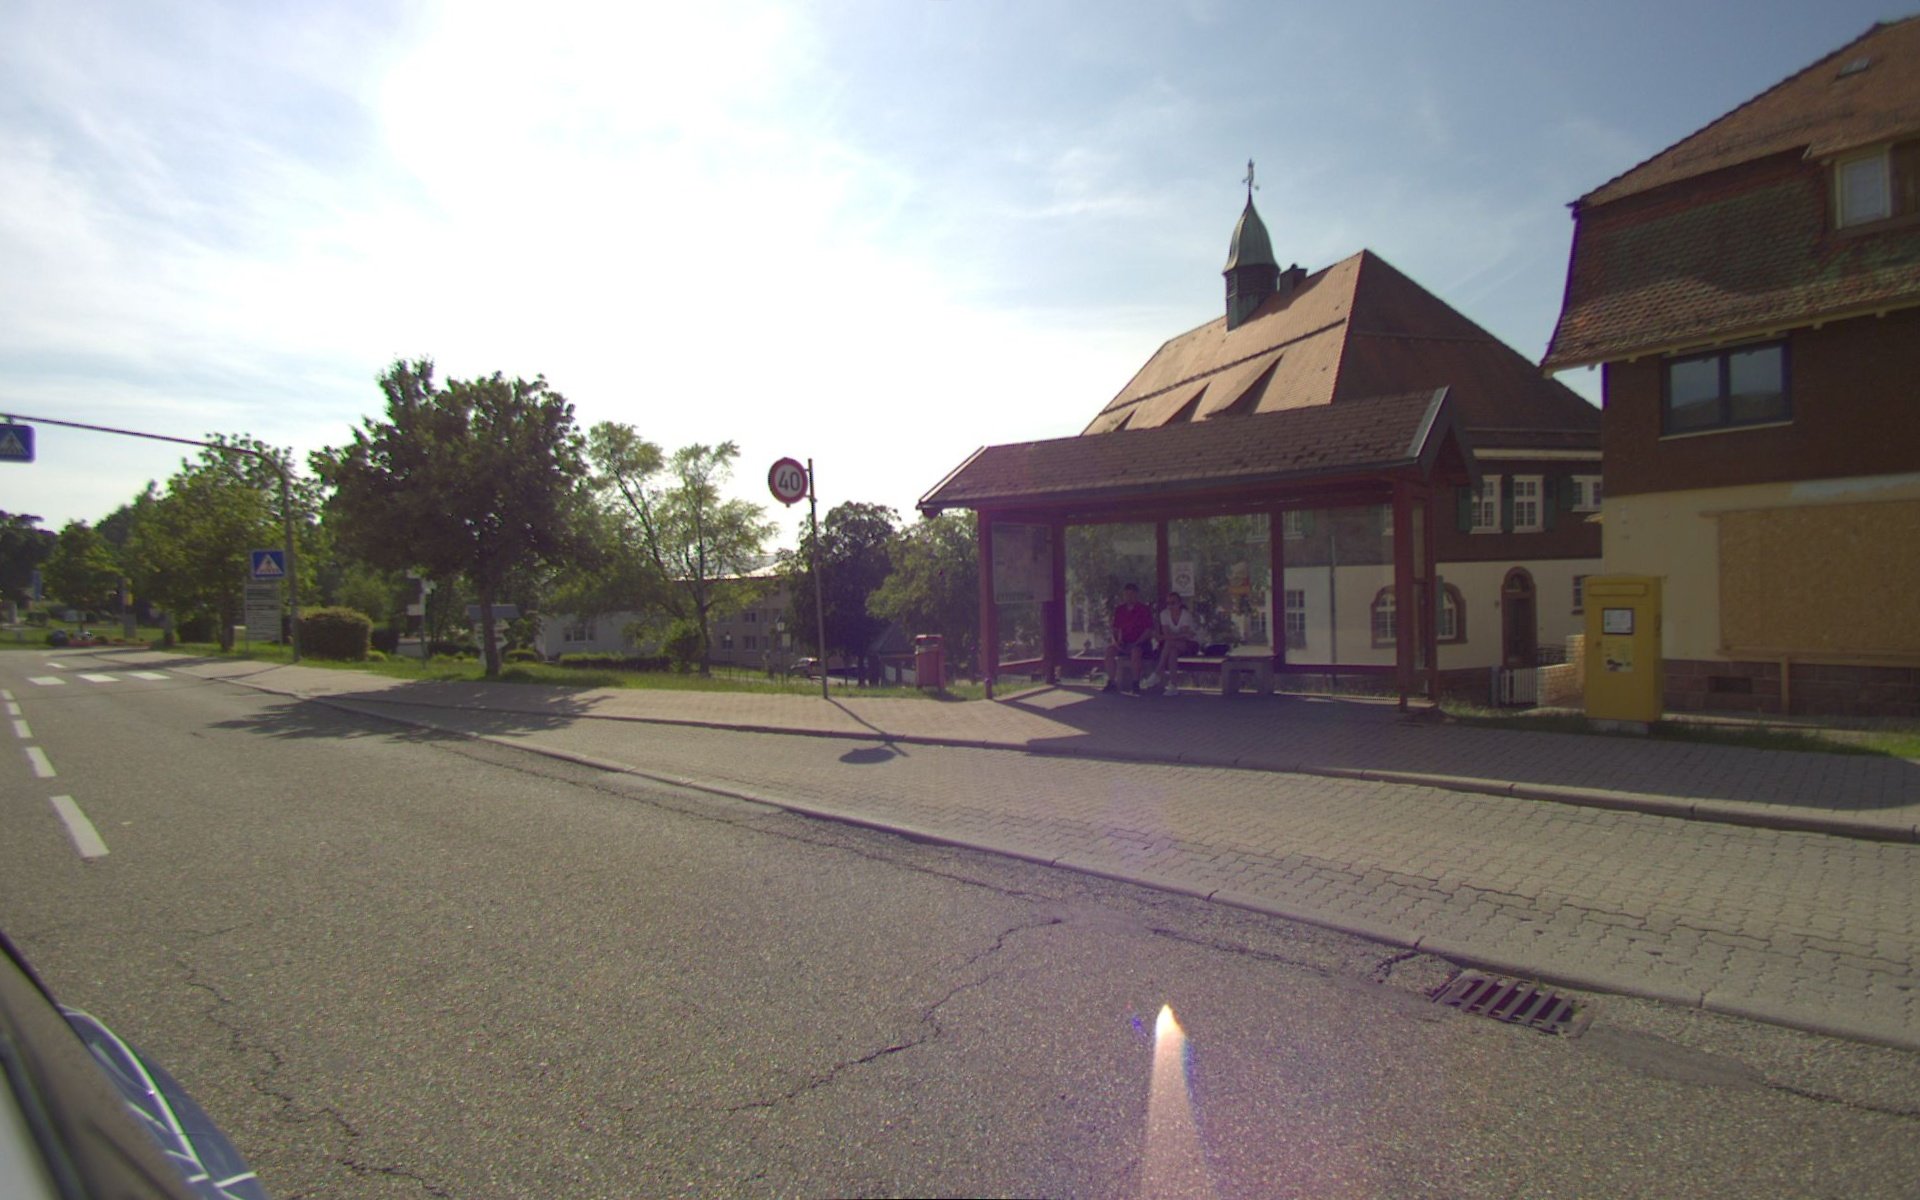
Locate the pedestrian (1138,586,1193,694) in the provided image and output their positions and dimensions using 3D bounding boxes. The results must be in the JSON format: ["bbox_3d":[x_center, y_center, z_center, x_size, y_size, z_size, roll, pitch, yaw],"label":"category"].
[{"bbox_3d":[2.483,0.478,12.208,0.423,1.262,0.623,-1,-2,37],"label":"pedestrian"}]

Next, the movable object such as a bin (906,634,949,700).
[{"bbox_3d":[-0.428,0.871,13.319,0.484,0.843,0.302,-1,-1,38],"label":"movable object such as a bin"}]

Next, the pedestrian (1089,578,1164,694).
[{"bbox_3d":[2.059,0.449,12.532,0.673,1.375,0.611,-3,-4,39],"label":"pedestrian"}]

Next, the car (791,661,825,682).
[{"bbox_3d":[-12.334,5.785,82.055,1.543,1.652,2.978,1,-3,-36],"label":"car"}]
